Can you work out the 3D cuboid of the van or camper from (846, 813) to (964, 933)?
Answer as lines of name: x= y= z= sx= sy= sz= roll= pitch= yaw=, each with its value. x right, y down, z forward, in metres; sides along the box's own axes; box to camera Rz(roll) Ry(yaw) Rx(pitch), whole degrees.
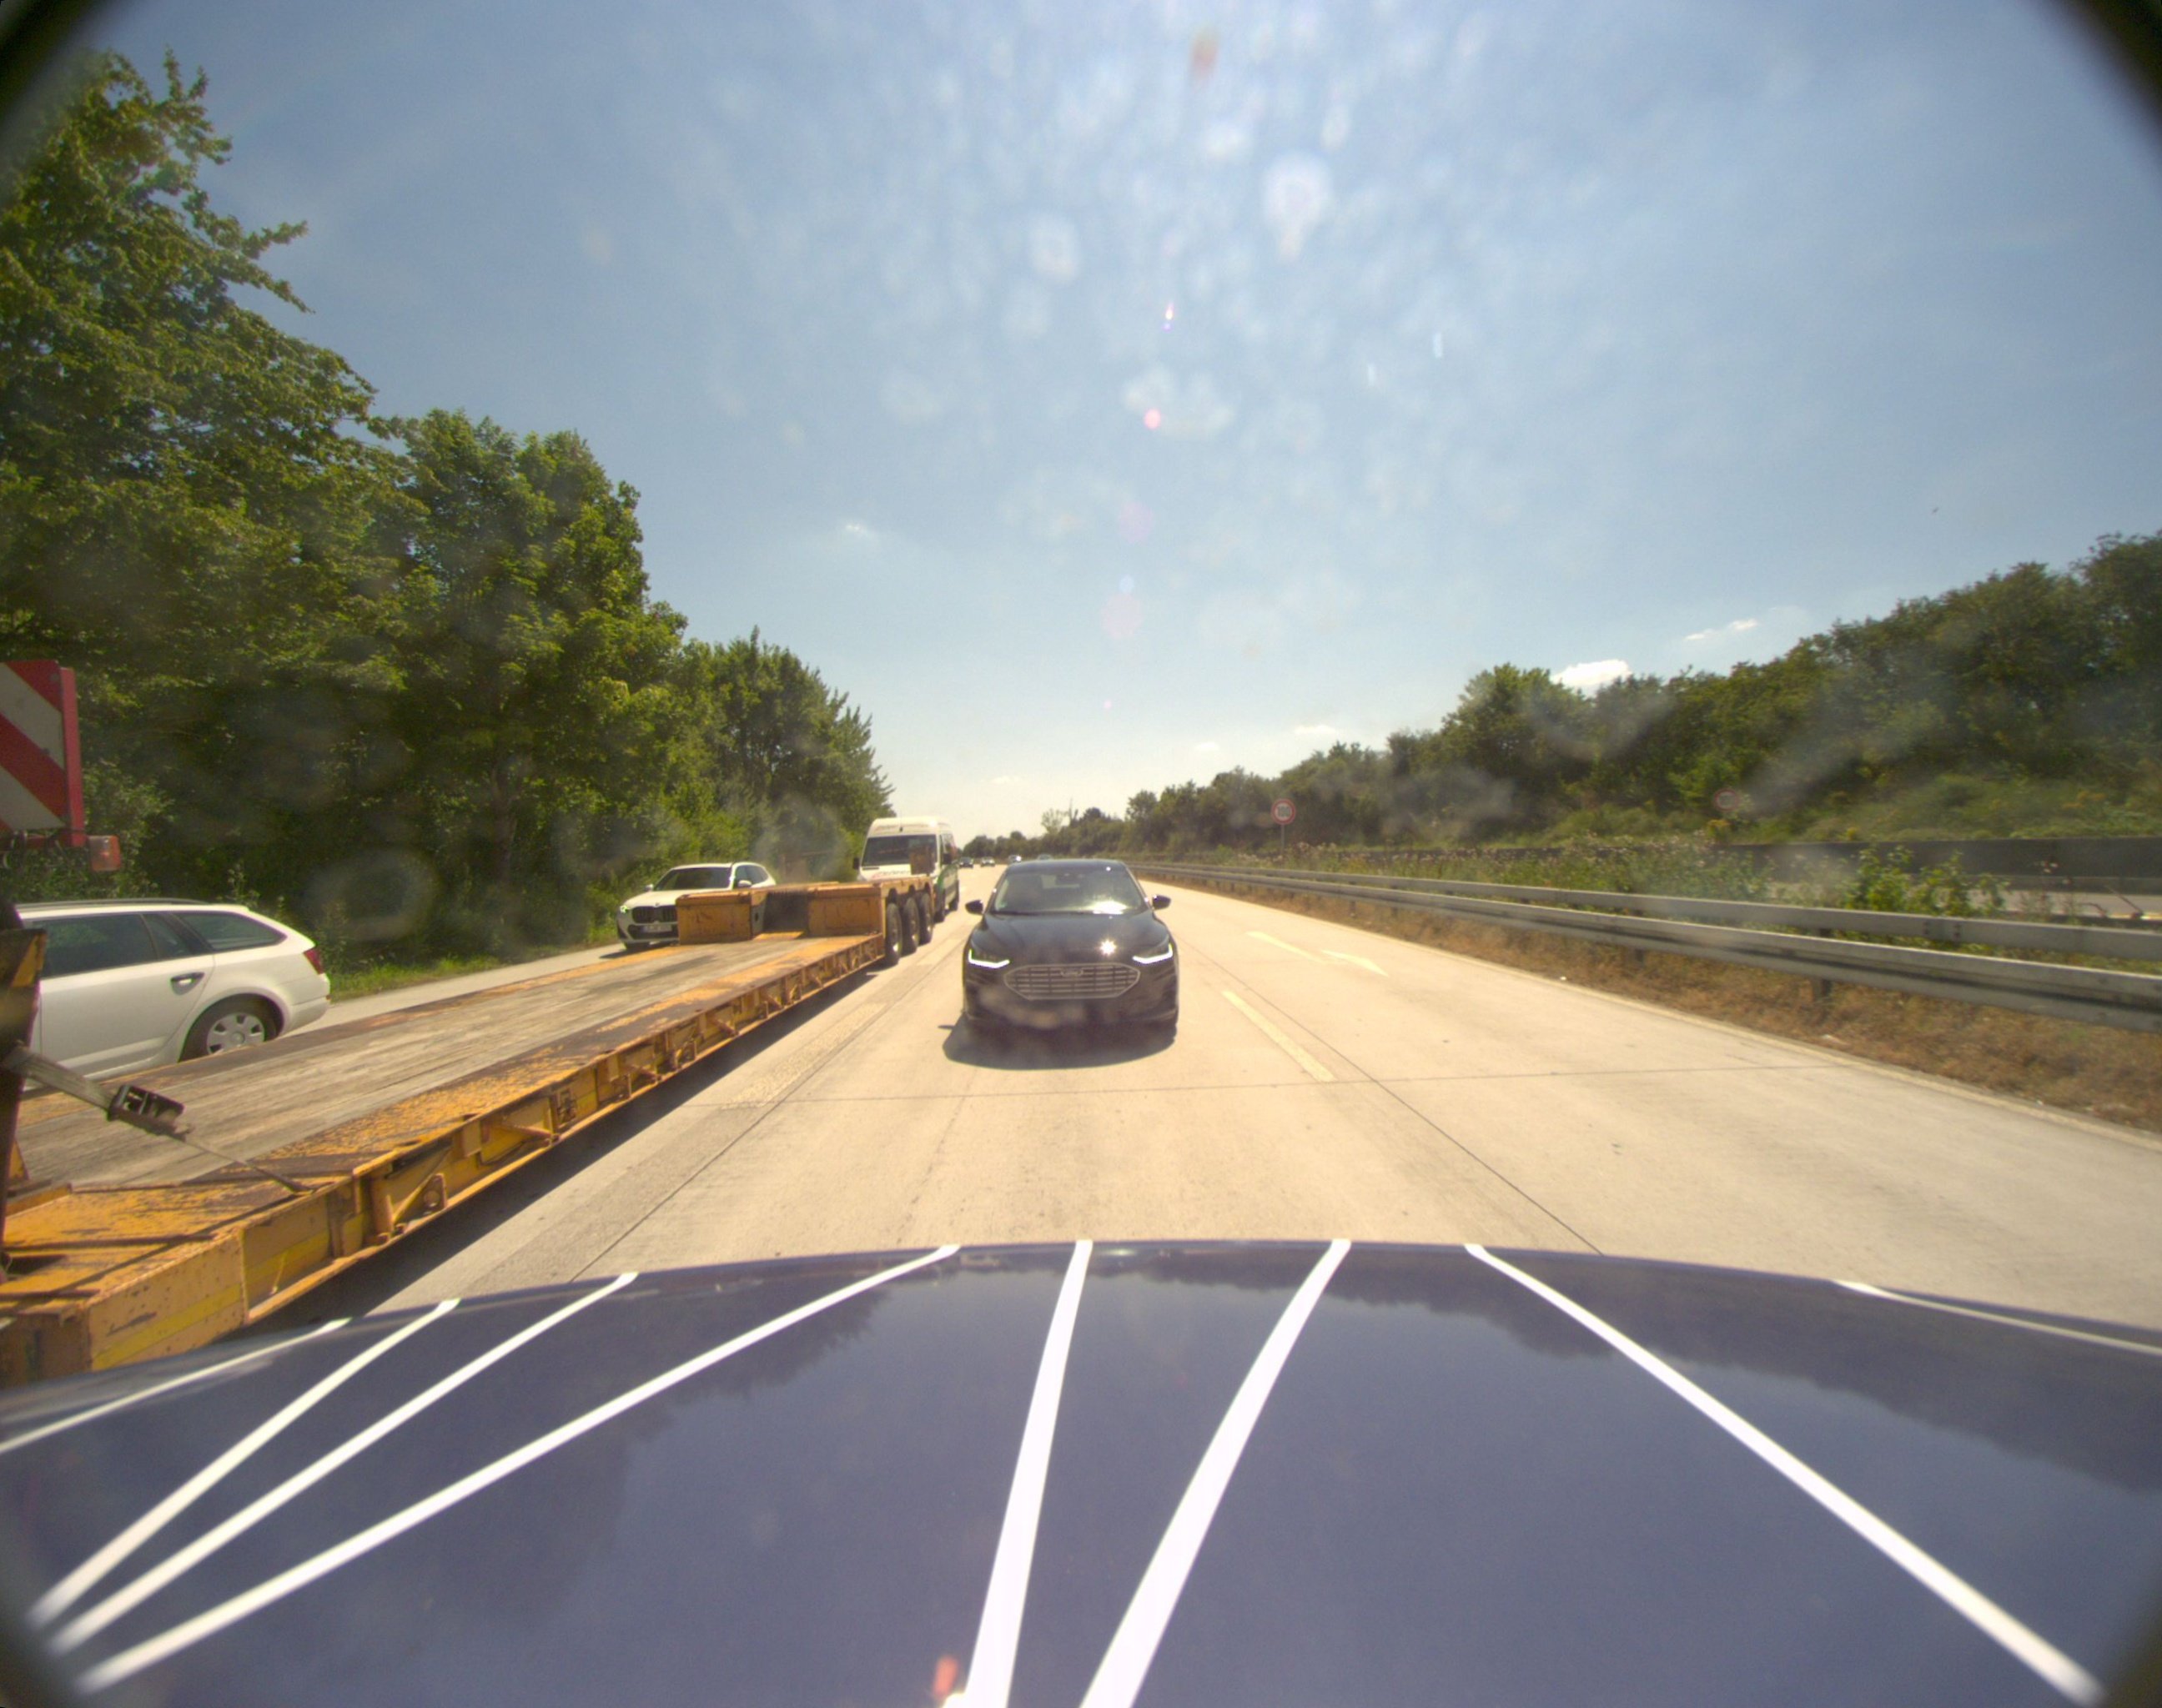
van or camper: x=-4.329 y=0.379 z=19.693 sx=2.069 sy=2.559 sz=5.904 roll=-2 pitch=1 yaw=-5

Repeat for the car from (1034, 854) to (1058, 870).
car: x=-3.504 y=0.795 z=75.479 sx=1.629 sy=1.476 sz=3.995 roll=-2 pitch=1 yaw=-12

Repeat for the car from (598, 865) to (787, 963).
car: x=-7.671 y=1.083 z=15.555 sx=1.772 sy=1.552 sz=4.366 roll=-2 pitch=1 yaw=-4

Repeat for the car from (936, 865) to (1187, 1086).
car: x=-0.115 y=0.898 z=7.563 sx=1.731 sy=1.430 sz=4.303 roll=-2 pitch=0 yaw=1

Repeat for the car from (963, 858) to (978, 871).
car: x=-14.299 y=1.362 z=98.321 sx=1.773 sy=1.552 sz=4.364 roll=-2 pitch=1 yaw=-9

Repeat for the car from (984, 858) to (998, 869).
car: x=-13.026 y=1.309 z=109.701 sx=1.892 sy=1.456 sz=3.996 roll=-2 pitch=1 yaw=-9

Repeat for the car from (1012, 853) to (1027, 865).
car: x=-8.736 y=0.692 z=107.741 sx=1.707 sy=1.456 sz=3.996 roll=-2 pitch=1 yaw=-8

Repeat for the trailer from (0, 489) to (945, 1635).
trailer: x=-4.014 y=0.476 z=5.961 sx=3.035 sy=2.578 sz=16.353 roll=-2 pitch=0 yaw=-1

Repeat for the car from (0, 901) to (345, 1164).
car: x=-7.552 y=1.215 z=4.576 sx=1.772 sy=1.454 sz=4.597 roll=-2 pitch=1 yaw=-1
